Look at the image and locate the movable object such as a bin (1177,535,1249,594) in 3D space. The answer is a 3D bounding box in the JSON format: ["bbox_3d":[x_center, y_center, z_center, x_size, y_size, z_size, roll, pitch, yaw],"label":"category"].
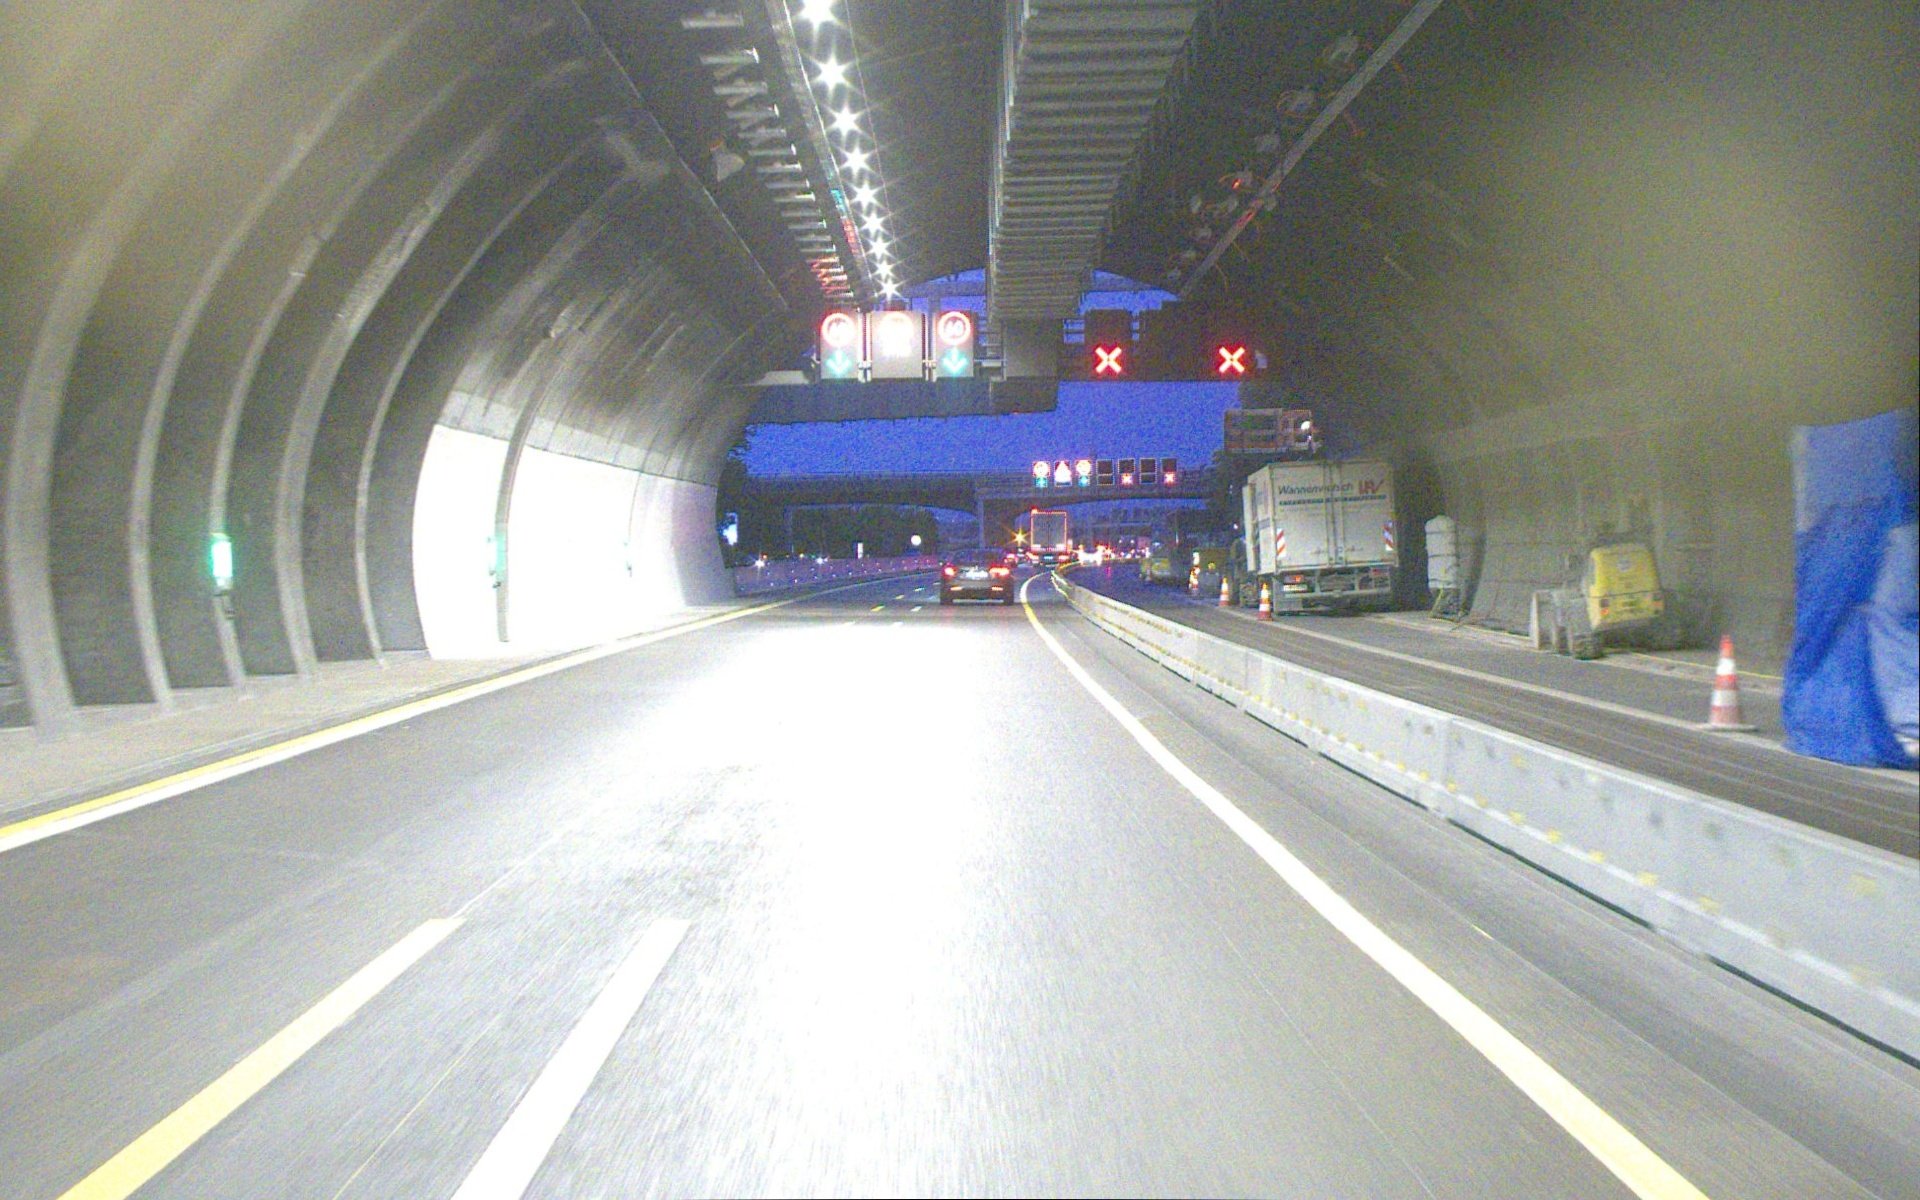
[{"bbox_3d":[7.913,-1.116,107.896,1.978,1.809,3.836,0,1,0],"label":"movable object such as a bin"}]

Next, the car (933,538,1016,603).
[{"bbox_3d":[0.354,-0.761,87.789,1.887,1.601,4.000,0,1,-3],"label":"car"}]

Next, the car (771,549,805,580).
[{"bbox_3d":[-11.277,-2.313,225.587,1.993,2.007,4.000,0,1,0],"label":"car"}]

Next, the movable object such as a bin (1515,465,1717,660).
[{"bbox_3d":[8.628,-0.500,45.529,1.756,2.372,4.000,-3,1,-1],"label":"movable object such as a bin"}]

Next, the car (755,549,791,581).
[{"bbox_3d":[-11.728,-2.203,215.496,1.993,2.007,4.000,0,1,0],"label":"car"}]

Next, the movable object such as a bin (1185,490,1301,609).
[{"bbox_3d":[6.869,-1.221,84.131,2.238,2.784,7.233,0,1,0],"label":"movable object such as a bin"}]

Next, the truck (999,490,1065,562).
[{"bbox_3d":[5.140,-5.253,245.791,4.546,4.970,9.599,0,1,1],"label":"truck"}]

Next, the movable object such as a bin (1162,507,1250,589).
[{"bbox_3d":[8.579,-1.813,120.583,2.737,2.744,7.049,0,1,1],"label":"movable object such as a bin"}]

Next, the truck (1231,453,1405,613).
[{"bbox_3d":[7.652,-1.416,74.597,2.892,3.261,8.401,0,1,0],"label":"truck"}]

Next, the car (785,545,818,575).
[{"bbox_3d":[-10.723,-2.716,232.505,1.993,2.007,4.000,0,1,0],"label":"car"}]

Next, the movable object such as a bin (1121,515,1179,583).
[{"bbox_3d":[9.859,-2.645,179.123,2.737,3.443,6.946,0,1,1],"label":"movable object such as a bin"}]

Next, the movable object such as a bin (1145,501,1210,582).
[{"bbox_3d":[10.085,-2.706,159.954,2.737,3.666,6.333,0,1,1],"label":"movable object such as a bin"}]
